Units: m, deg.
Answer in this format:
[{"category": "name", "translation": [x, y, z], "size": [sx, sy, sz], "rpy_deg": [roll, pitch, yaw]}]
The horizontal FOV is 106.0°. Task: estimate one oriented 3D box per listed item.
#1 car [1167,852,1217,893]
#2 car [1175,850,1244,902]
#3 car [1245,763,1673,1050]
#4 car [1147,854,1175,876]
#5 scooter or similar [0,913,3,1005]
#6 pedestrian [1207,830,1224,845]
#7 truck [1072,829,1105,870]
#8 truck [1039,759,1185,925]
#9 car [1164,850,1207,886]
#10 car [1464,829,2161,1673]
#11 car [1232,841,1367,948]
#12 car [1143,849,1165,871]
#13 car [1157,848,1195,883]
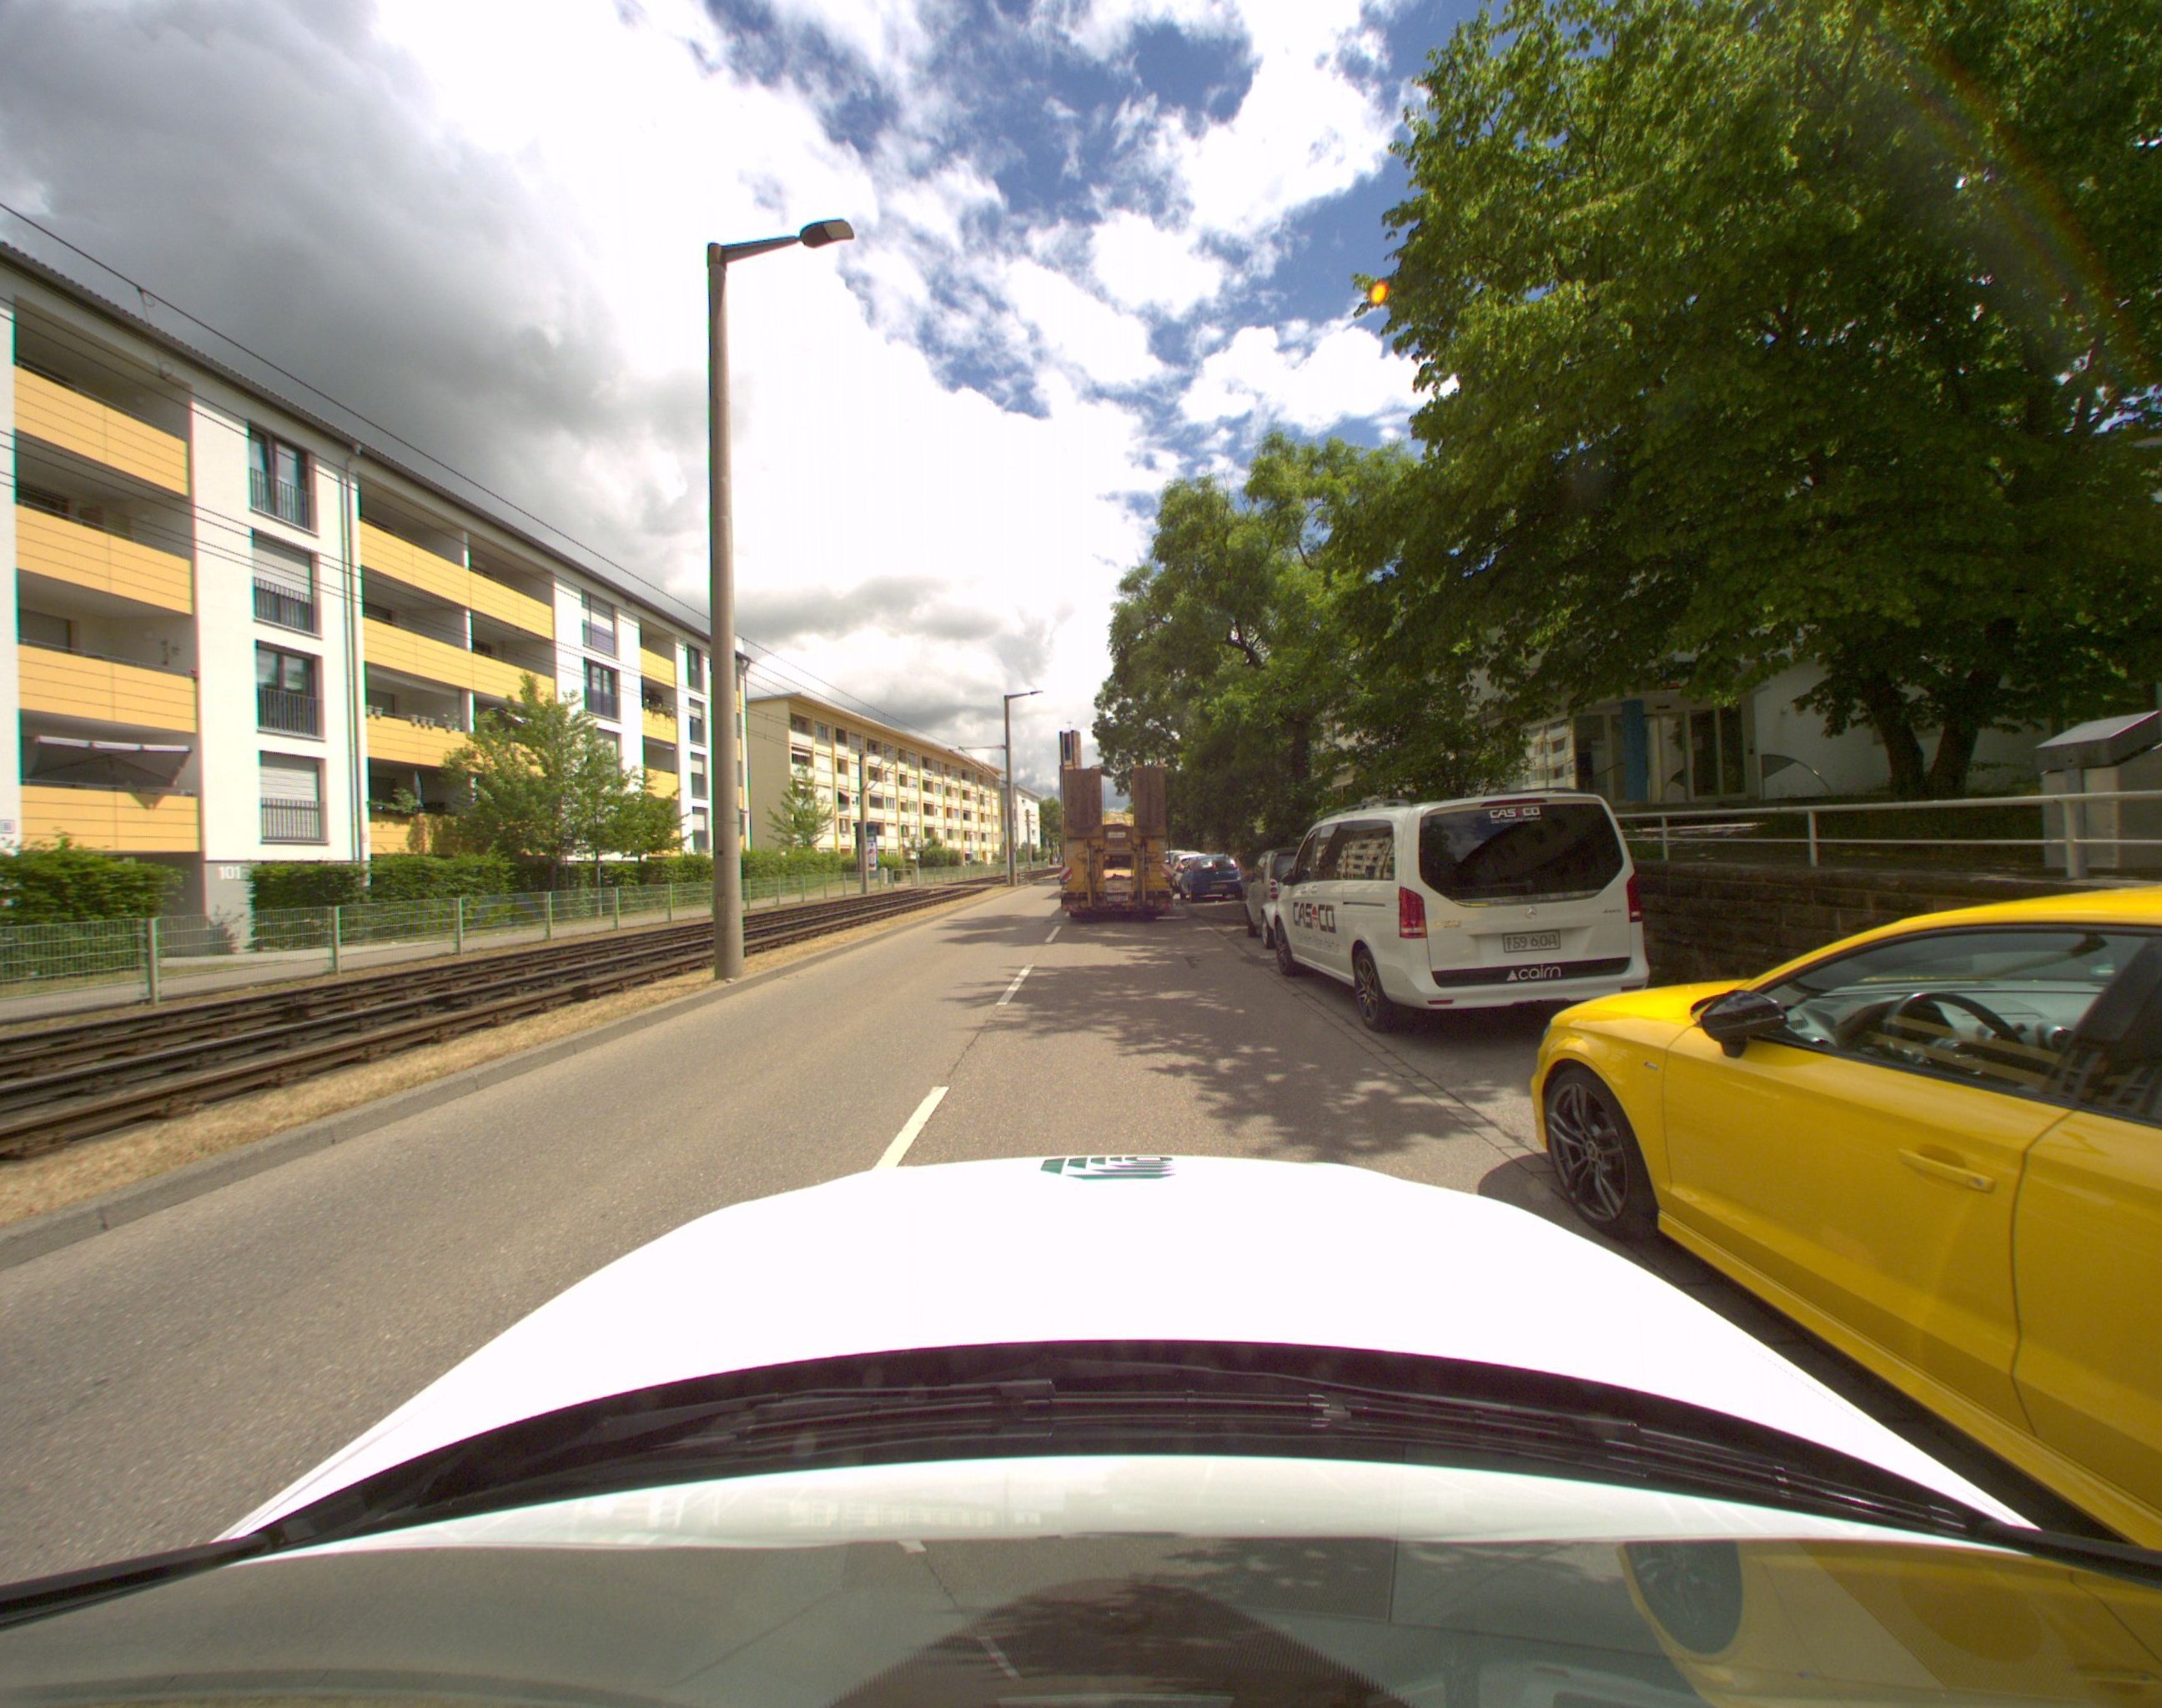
[{"category": "car", "translation": [4.393, 0.683, 32.777], "size": [1.638, 1.490, 3.825], "rpy_deg": [-2, 0, 3]}, {"category": "car", "translation": [4.065, 0.660, 26.173], "size": [1.602, 1.456, 3.676], "rpy_deg": [-4, 0, 1]}, {"category": "car", "translation": [3.287, 0.370, 8.704], "size": [1.907, 1.958, 5.746], "rpy_deg": [-3, 0, 1]}, {"category": "car", "translation": [5.648, 0.750, 57.738], "size": [1.828, 1.405, 4.419], "rpy_deg": [-3, 0, 4]}, {"category": "scooter or similar", "translation": [-14.575, 1.357, 10.143], "size": [0.488, 1.293, 1.302], "rpy_deg": [-2, 0, 2]}, {"category": "pedestrian", "translation": [7.051, -0.858, 42.715], "size": [0.792, 0.790, 0.705], "rpy_deg": [-2, 0, 1]}, {"category": "truck", "translation": [0.749, -0.390, 74.292], "size": [2.687, 3.580, 6.150], "rpy_deg": [-1, 0, 3]}, {"category": "truck", "translation": [0.755, -0.284, 24.220], "size": [3.113, 3.564, 12.460], "rpy_deg": [-2, 0, 1]}, {"category": "car", "translation": [4.821, 0.622, 37.910], "size": [1.575, 1.552, 3.476], "rpy_deg": [-2, 0, 1]}, {"category": "car", "translation": [2.777, 0.690, 1.915], "size": [1.749, 1.442, 4.342], "rpy_deg": [-4, 0, 2]}, {"category": "car", "translation": [3.581, 0.604, 13.777], "size": [1.507, 1.534, 2.848], "rpy_deg": [-4, 0, 2]}, {"category": "car", "translation": [6.774, 0.532, 75.783], "size": [1.792, 1.968, 4.594], "rpy_deg": [-3, 0, 3]}, {"category": "car", "translation": [4.904, 0.562, 42.534], "size": [1.815, 1.682, 4.582], "rpy_deg": [-3, 0, 5]}]
